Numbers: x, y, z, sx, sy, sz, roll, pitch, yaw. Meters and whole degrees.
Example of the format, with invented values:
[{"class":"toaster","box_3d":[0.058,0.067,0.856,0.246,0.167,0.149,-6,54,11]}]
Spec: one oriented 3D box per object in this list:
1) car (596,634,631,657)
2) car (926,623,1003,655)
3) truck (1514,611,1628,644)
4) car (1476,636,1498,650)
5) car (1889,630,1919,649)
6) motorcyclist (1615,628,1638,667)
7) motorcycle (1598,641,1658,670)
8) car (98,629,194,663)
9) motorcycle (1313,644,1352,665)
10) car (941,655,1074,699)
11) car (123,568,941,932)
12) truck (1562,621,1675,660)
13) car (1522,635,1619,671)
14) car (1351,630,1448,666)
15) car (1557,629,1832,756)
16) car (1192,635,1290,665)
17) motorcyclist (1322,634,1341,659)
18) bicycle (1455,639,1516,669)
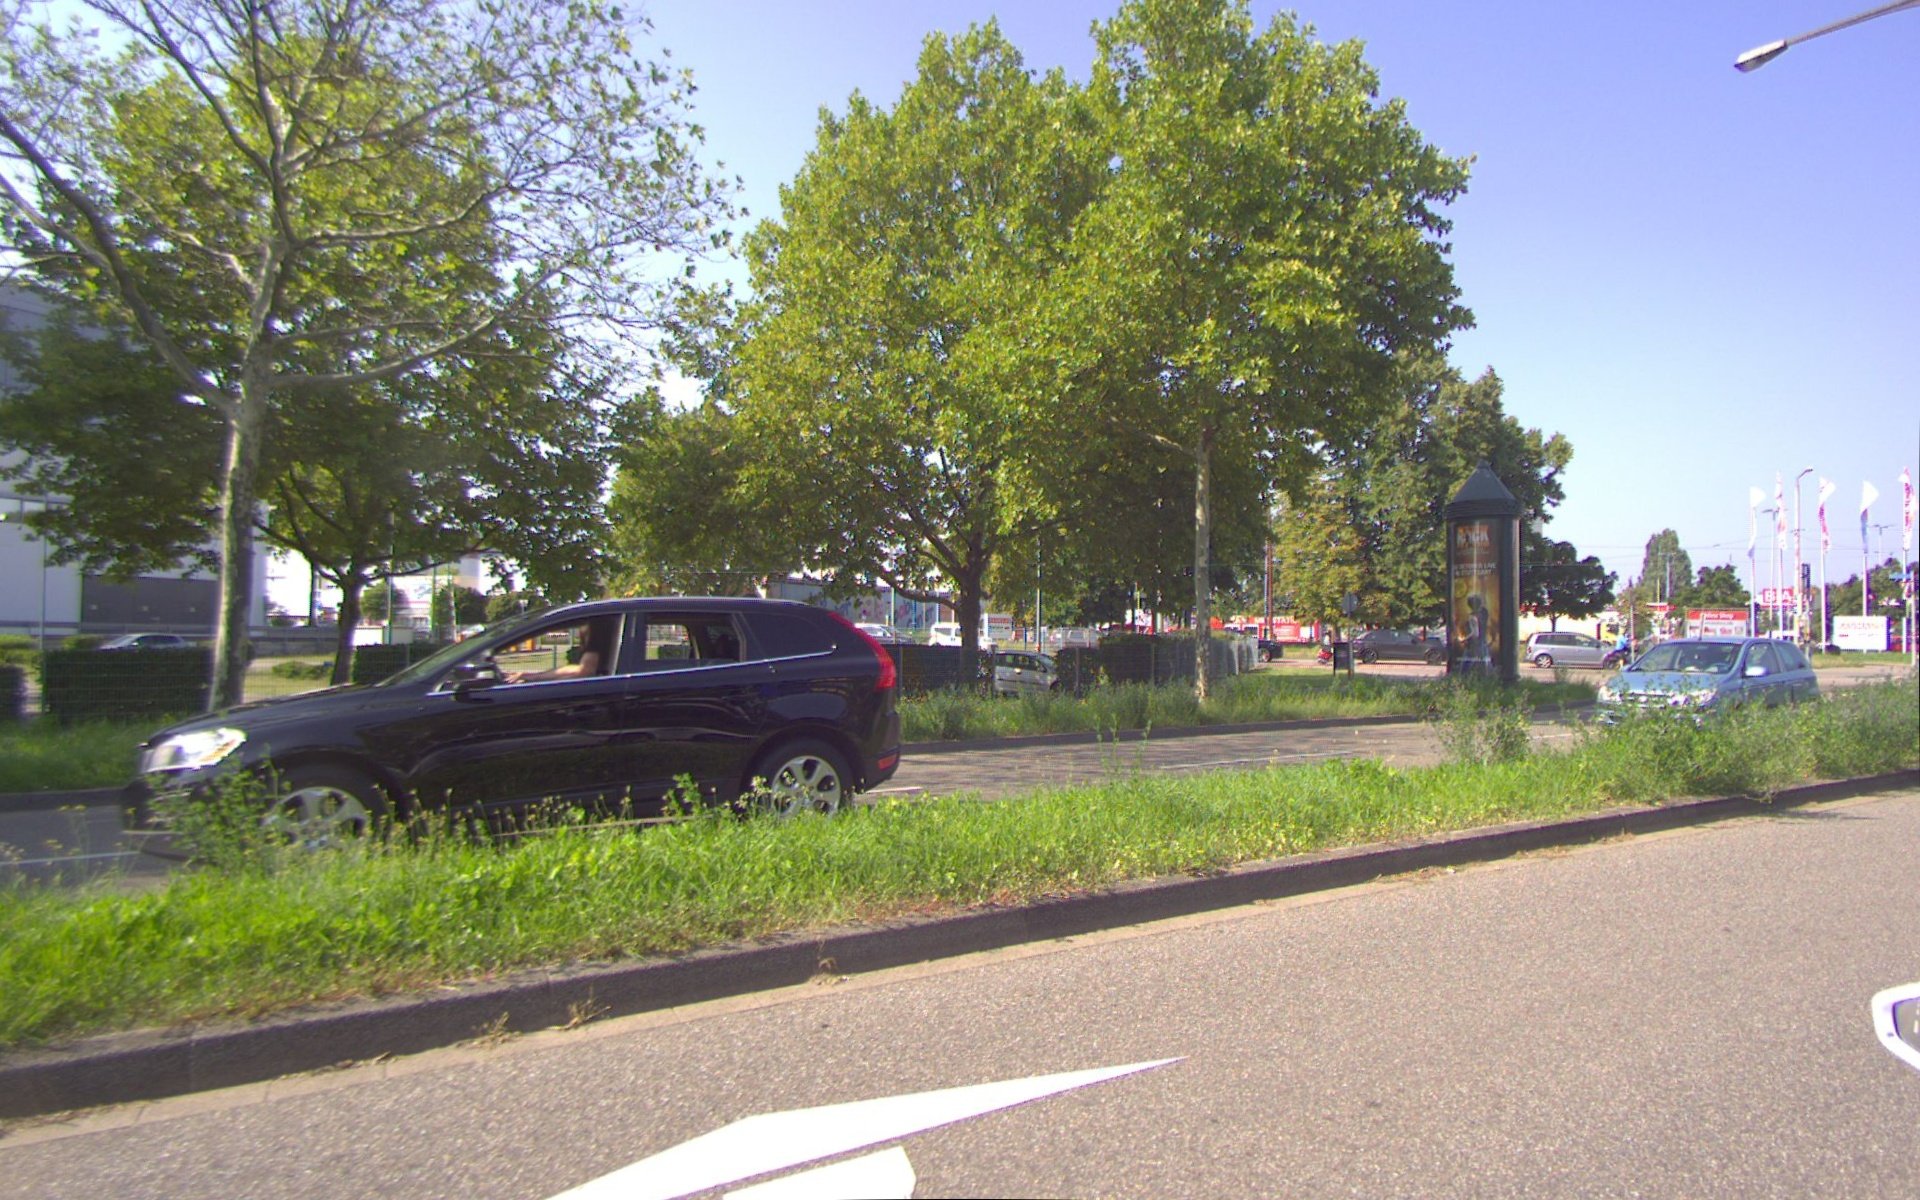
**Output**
[{"class":"car","box_3d":[-24.571,3.218,71.176,1.816,1.565,3.974,1,-2,-26]},{"class":"car","box_3d":[0.244,2.214,57.143,3.924,1.701,1.869,1,-1,24]},{"class":"truck","box_3d":[57.546,2.634,94.966,8.844,2.996,3.512,-1,-2,25]},{"class":"car","box_3d":[44.085,3.578,83.964,1.582,1.150,3.411,0,-1,28]},{"class":"car","box_3d":[106.793,4.419,112.100,4.212,2.040,1.997,0,-1,28]},{"class":"motorcyclist","box_3d":[27.997,1.986,42.206,0.671,1.593,0.683,1,-1,25]},{"class":"motorcycle","box_3d":[28.027,2.338,42.182,2.037,1.151,0.677,0,-2,26]},{"class":"car","box_3d":[-37.190,2.091,45.958,1.356,1.455,3.123,1,-1,26]},{"class":"motorcycle","box_3d":[17.960,2.633,48.418,1.689,0.957,0.711,1,-1,26]},{"class":"car","box_3d":[1.492,2.425,31.929,3.924,1.272,1.590,-1,-2,24]},{"class":"car","box_3d":[-2.550,0.781,6.786,4.453,1.728,1.983,2,-1,-31]},{"class":"truck","box_3d":[43.385,2.624,66.379,2.082,2.360,5.949,2,-1,-31]},{"class":"car","box_3d":[27.663,2.384,45.635,3.633,1.462,1.466,1,-1,25]},{"class":"car","box_3d":[21.188,2.285,48.536,4.228,1.600,1.571,1,-1,23]},{"class":"car","box_3d":[10.687,1.258,14.583,3.952,1.595,1.765,2,-1,-29]},{"class":"car","box_3d":[14.411,2.520,51.597,4.657,1.462,1.571,-1,-2,25]},{"class":"motorcyclist","box_3d":[17.925,2.230,48.453,0.815,1.194,0.691,1,-1,26]},{"class":"bicycle","box_3d":[23.195,2.372,44.392,2.316,1.252,0.873,1,-1,25]}]
